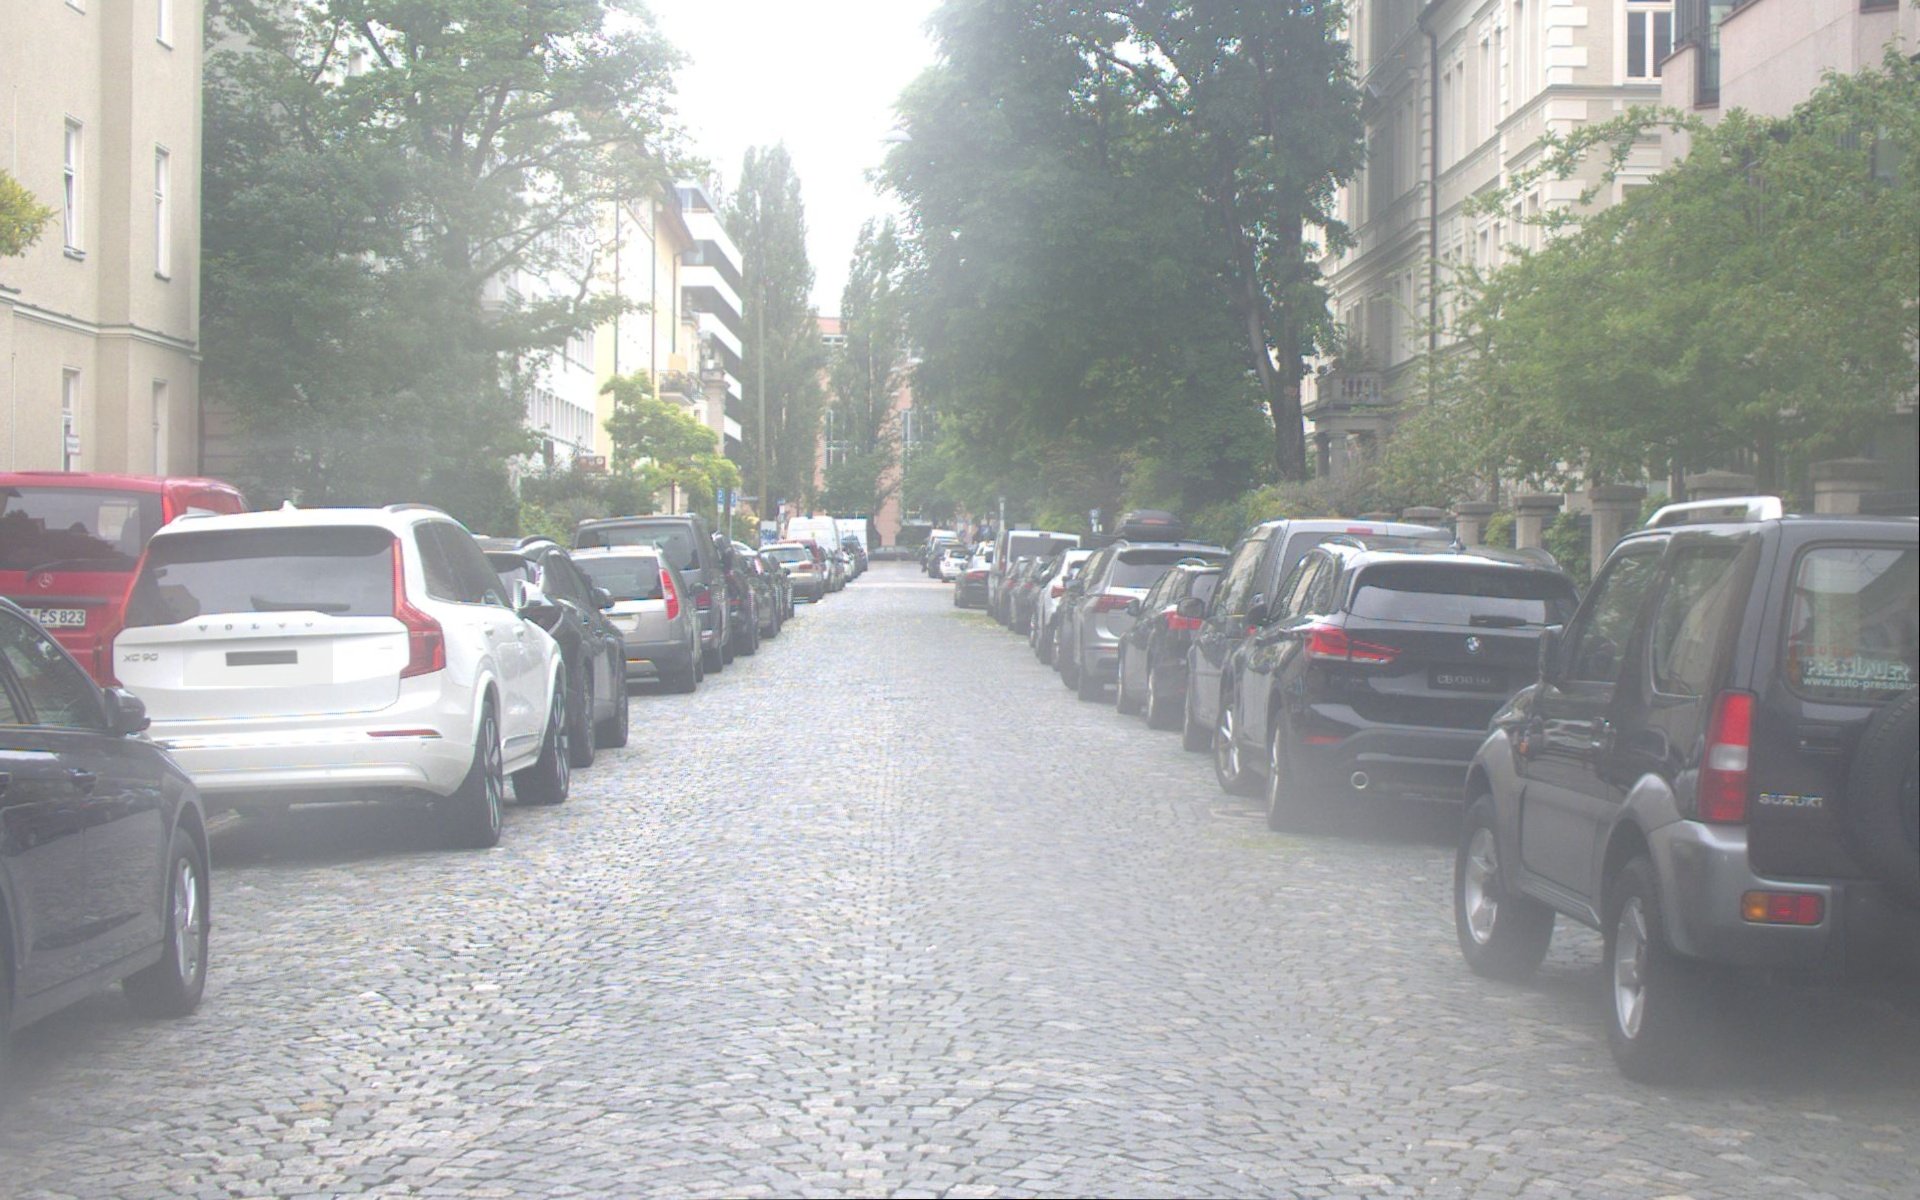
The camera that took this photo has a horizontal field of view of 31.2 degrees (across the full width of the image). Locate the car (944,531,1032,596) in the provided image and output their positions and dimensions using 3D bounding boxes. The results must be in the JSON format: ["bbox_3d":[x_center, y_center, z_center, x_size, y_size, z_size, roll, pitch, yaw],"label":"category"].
[{"bbox_3d":[0.688,-0.928,86.714,1.873,1.498,4.512,3,1,-3],"label":"car"}]

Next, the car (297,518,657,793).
[{"bbox_3d":[-3.446,0.332,25.413,1.917,1.729,4.756,-4,1,0],"label":"car"}]

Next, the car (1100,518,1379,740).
[{"bbox_3d":[2.437,0.202,31.127,1.873,1.729,4.659,4,1,-2],"label":"car"}]

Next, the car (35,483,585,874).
[{"bbox_3d":[-3.357,0.329,18.847,2.006,1.802,5.175,-1,1,0],"label":"car"}]

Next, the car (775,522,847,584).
[{"bbox_3d":[-4.112,-1.300,94.427,1.873,1.574,4.256,-2,1,-3],"label":"car"}]

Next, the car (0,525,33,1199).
[{"bbox_3d":[-2.905,0.671,5.484,1.713,1.557,4.391,-1,1,-1],"label":"car"}]

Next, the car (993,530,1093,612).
[{"bbox_3d":[1.634,-0.600,69.084,1.837,1.485,4.422,3,1,0],"label":"car"}]

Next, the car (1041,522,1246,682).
[{"bbox_3d":[2.176,-0.020,42.026,1.873,1.729,4.748,4,1,-3],"label":"car"}]

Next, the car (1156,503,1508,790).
[{"bbox_3d":[2.611,0.269,25.185,1.788,1.790,4.510,4,1,-2],"label":"car"}]

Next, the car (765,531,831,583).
[{"bbox_3d":[-4.760,-1.266,100.652,1.873,1.446,4.208,-1,1,-3],"label":"car"}]

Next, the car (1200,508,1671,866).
[{"bbox_3d":[2.564,0.399,19.744,1.860,1.696,4.813,3,1,-1],"label":"car"}]

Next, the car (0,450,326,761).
[{"bbox_3d":[-5.920,-0.021,24.380,1.994,1.924,5.331,2,1,-2],"label":"car"}]

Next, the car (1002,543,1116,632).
[{"bbox_3d":[1.749,-0.253,62.149,1.713,1.467,4.269,3,1,-2],"label":"car"}]

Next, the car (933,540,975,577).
[{"bbox_3d":[-0.264,-1.800,148.371,1.790,1.515,4.000,1,1,0],"label":"car"}]

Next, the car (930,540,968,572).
[{"bbox_3d":[-0.551,-2.175,169.055,1.790,1.515,4.000,1,1,0],"label":"car"}]

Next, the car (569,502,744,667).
[{"bbox_3d":[-3.768,-0.223,43.354,1.873,1.910,4.828,-2,1,-2],"label":"car"}]

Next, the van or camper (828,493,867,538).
[{"bbox_3d":[-6.944,-5.190,211.924,2.256,2.733,5.098,1,1,-1],"label":"van or camper"}]

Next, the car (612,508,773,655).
[{"bbox_3d":[-3.820,-0.301,49.863,1.993,1.910,5.178,-3,1,-2],"label":"car"}]

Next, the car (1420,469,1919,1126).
[{"bbox_3d":[2.697,0.526,11.264,1.618,1.745,3.888,3,1,-2],"label":"car"}]

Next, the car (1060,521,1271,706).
[{"bbox_3d":[2.084,0.098,36.103,1.873,1.729,4.892,3,1,0],"label":"car"}]

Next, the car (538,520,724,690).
[{"bbox_3d":[-3.620,0.004,38.423,1.865,1.729,4.404,-2,1,-4],"label":"car"}]

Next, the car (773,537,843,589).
[{"bbox_3d":[-4.959,-1.227,112.448,1.873,1.574,4.208,3,1,2],"label":"car"}]

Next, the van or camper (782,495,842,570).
[{"bbox_3d":[-5.457,-2.499,127.388,1.993,2.643,4.000,-2,1,0],"label":"van or camper"}]

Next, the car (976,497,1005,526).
[{"bbox_3d":[2.218,-6.445,251.486,1.993,2.007,4.000,1,1,0],"label":"car"}]

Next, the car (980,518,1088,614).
[{"bbox_3d":[1.567,-0.766,74.738,1.873,1.921,5.165,3,1,-3],"label":"car"}]

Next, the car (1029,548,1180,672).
[{"bbox_3d":[1.931,0.102,47.161,1.873,1.485,4.617,3,1,1],"label":"car"}]

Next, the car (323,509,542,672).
[{"bbox_3d":[-6.200,-0.148,40.921,1.945,1.729,4.658,3,1,-2],"label":"car"}]

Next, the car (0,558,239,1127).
[{"bbox_3d":[-3.316,0.622,9.782,1.729,1.414,3.937,-2,1,-1],"label":"car"}]
